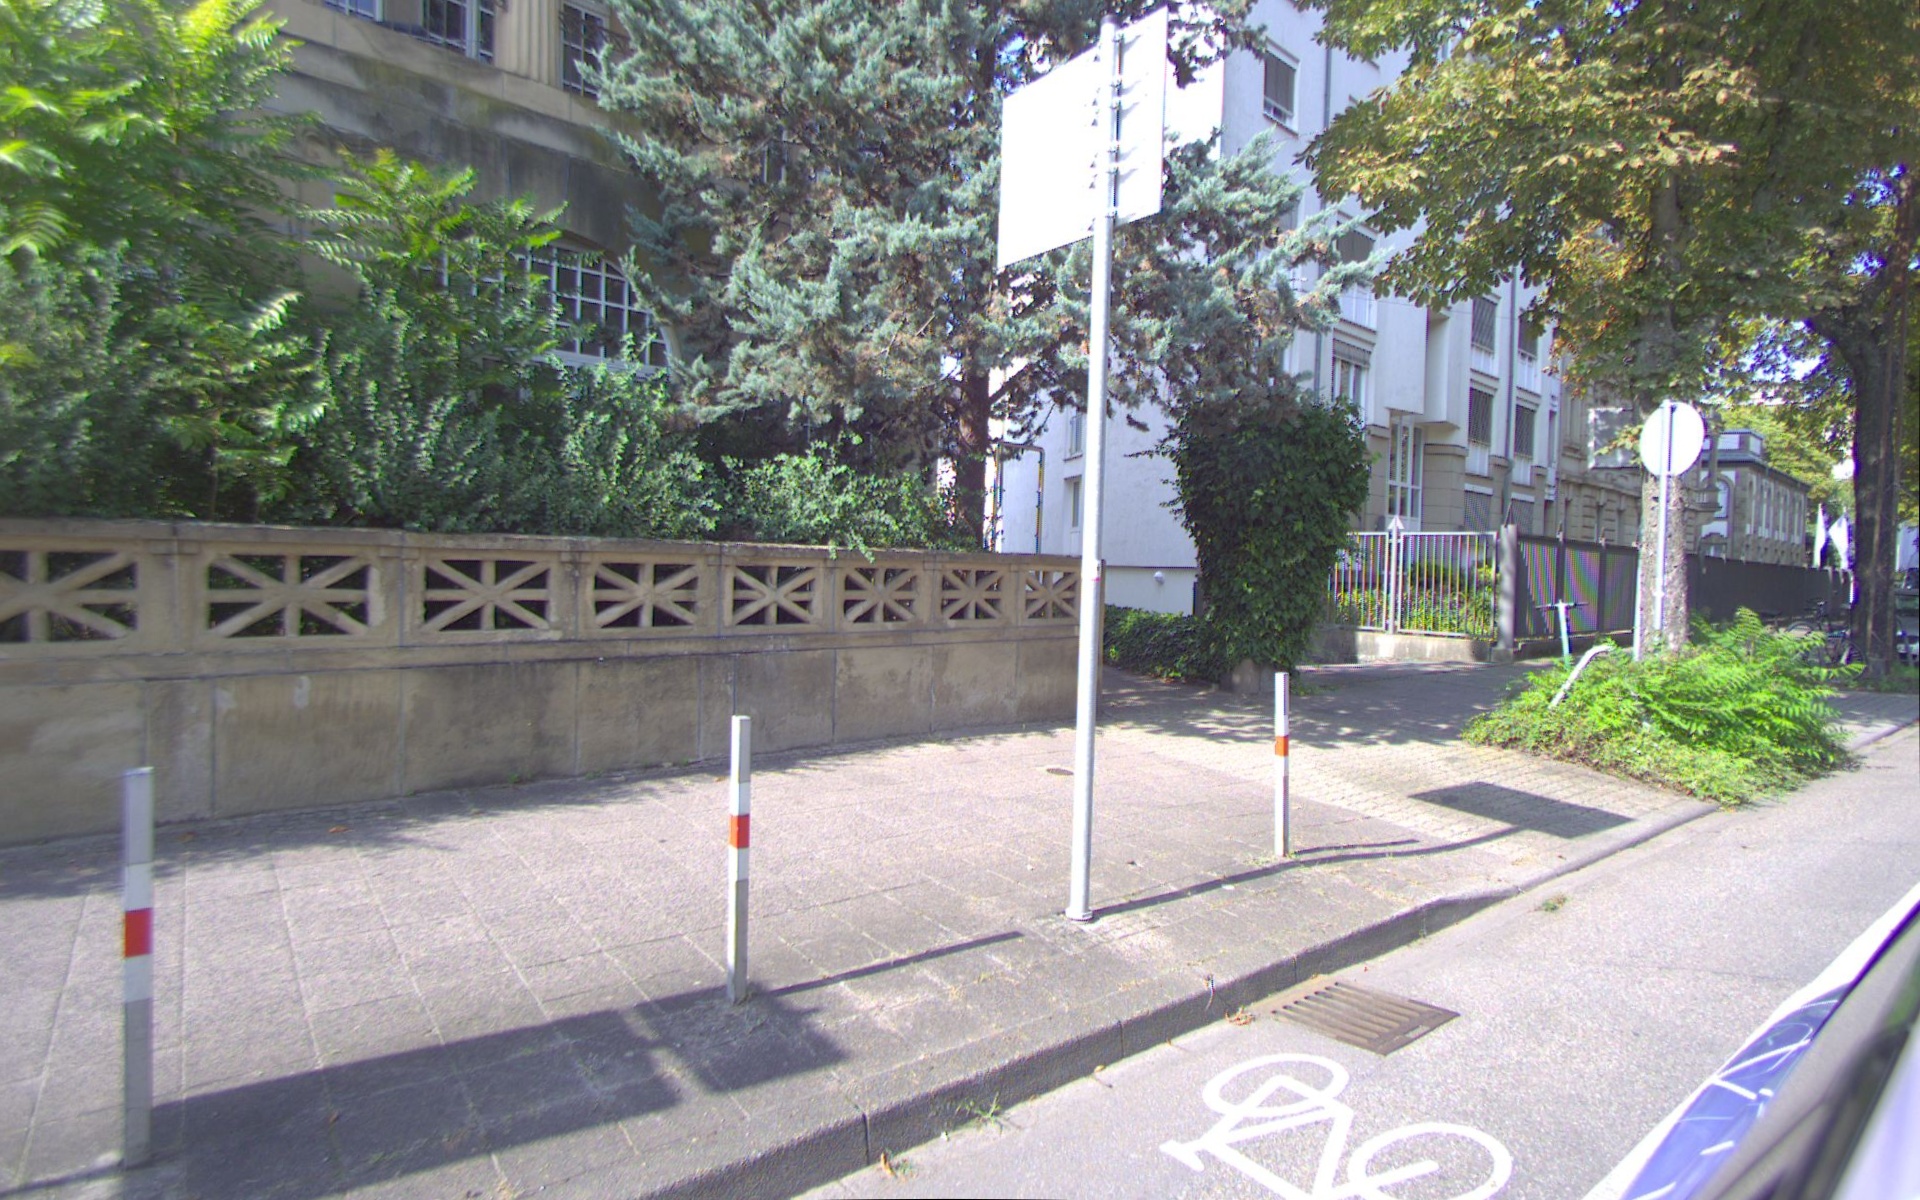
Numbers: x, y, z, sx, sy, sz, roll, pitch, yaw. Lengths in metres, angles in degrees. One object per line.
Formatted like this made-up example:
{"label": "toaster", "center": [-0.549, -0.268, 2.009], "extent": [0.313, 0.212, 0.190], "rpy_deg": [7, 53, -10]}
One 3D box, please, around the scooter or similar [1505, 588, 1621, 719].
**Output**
{"label": "scooter or similar", "center": [6.061, 0.507, 10.168], "extent": [1.015, 1.211, 0.560], "rpy_deg": [0, 5, -36]}

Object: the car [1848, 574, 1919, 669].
{"label": "car", "center": [17.946, 0.379, 18.780], "extent": [4.282, 1.541, 1.610], "rpy_deg": [-1, 6, -42]}

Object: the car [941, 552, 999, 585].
{"label": "car", "center": [0.438, -1.609, 51.338], "extent": [1.797, 1.585, 4.010], "rpy_deg": [1, 2, -17]}

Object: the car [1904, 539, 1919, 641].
{"label": "car", "center": [26.540, -0.217, 26.481], "extent": [6.121, 2.529, 2.050], "rpy_deg": [0, 3, -42]}

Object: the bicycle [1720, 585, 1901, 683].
{"label": "bicycle", "center": [11.902, 0.462, 14.219], "extent": [1.812, 1.179, 0.504], "rpy_deg": [4, 8, 9]}
